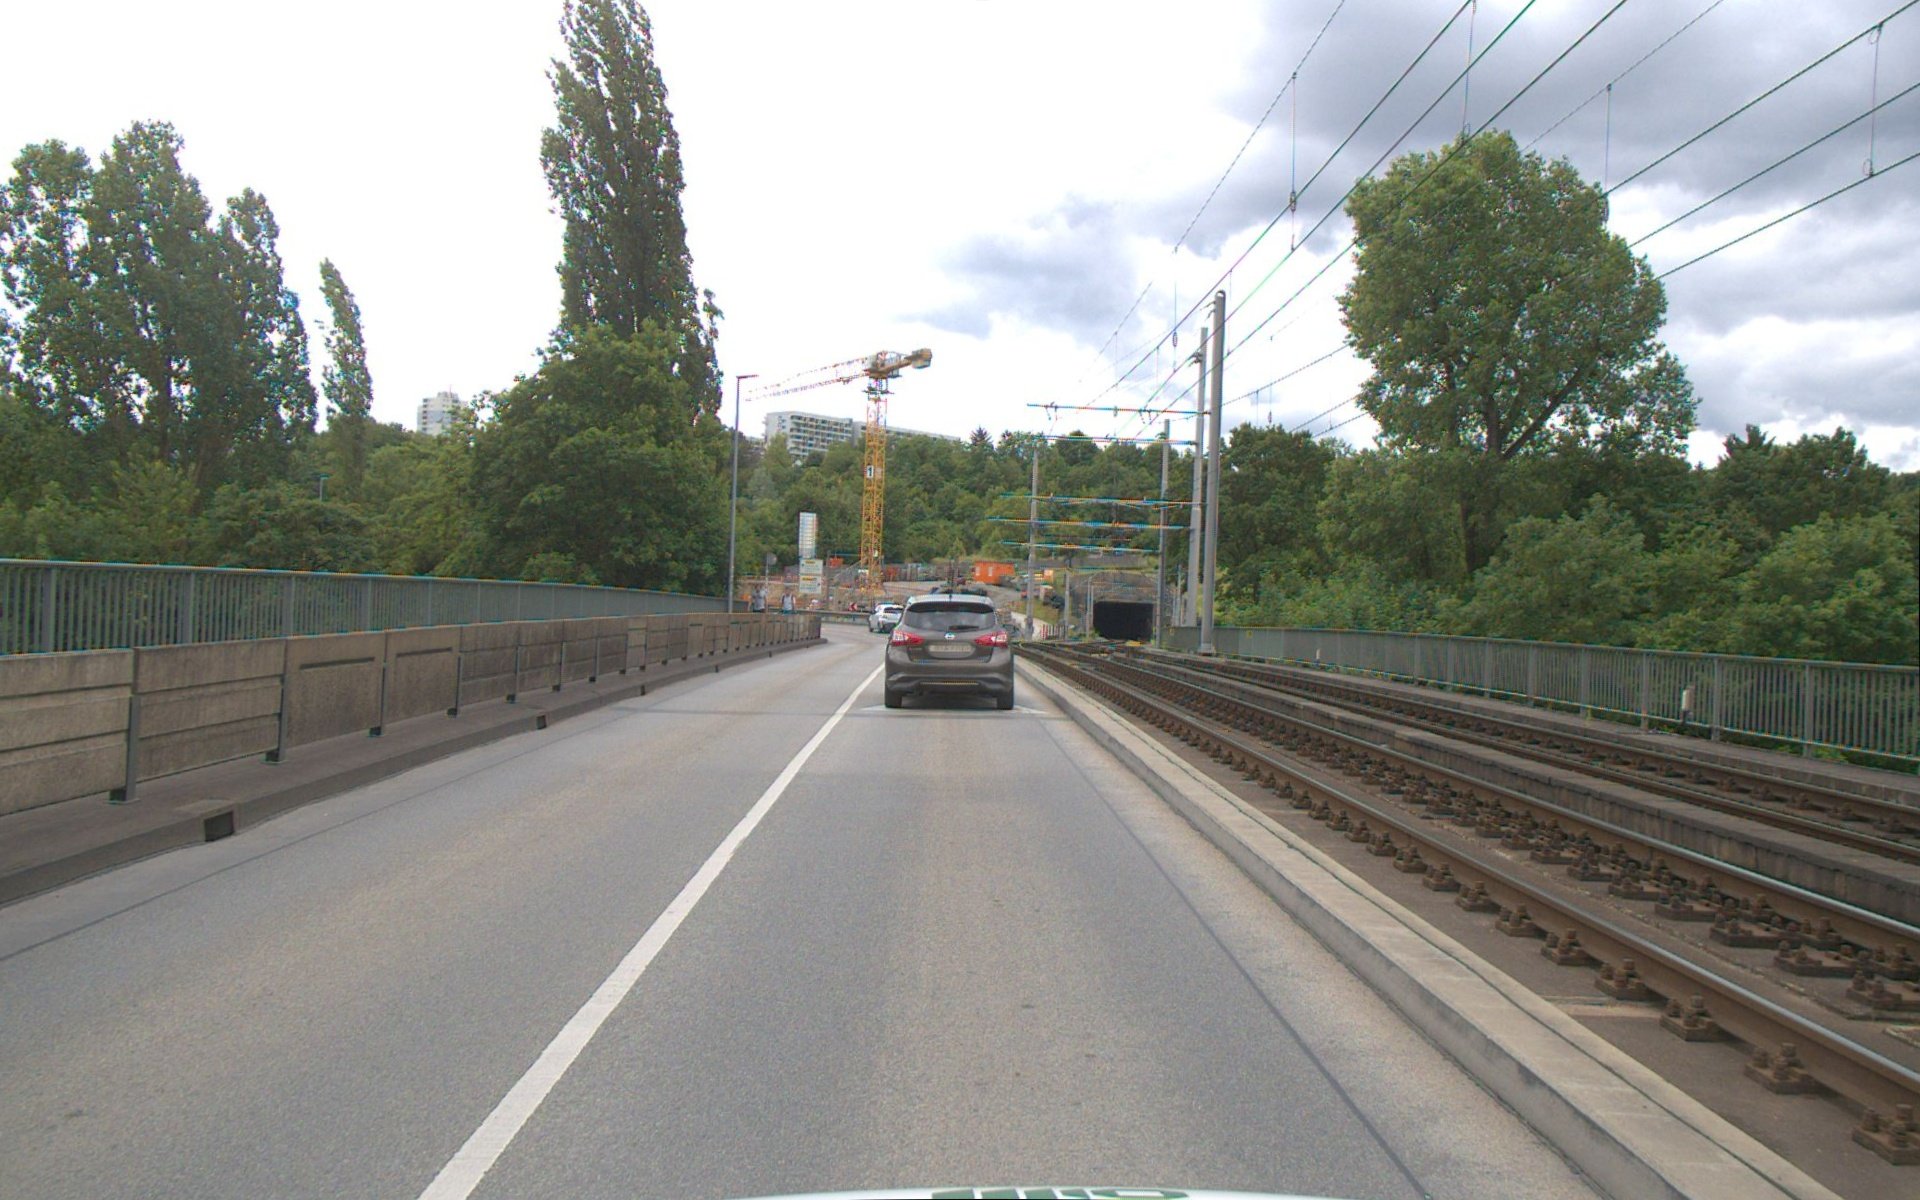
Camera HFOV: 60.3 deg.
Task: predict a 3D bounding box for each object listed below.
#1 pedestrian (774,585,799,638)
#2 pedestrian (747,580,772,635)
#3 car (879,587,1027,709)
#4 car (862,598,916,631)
[{"bbox_3d":[-5.834,0.388,55.716,0.706,1.731,0.723,2,0,-1],"label":"pedestrian"},{"bbox_3d":[-6.880,0.257,56.758,0.706,1.872,0.723,2,0,-1],"label":"pedestrian"},{"bbox_3d":[-0.185,0.625,23.365,1.794,1.536,3.996,2,0,-4],"label":"car"},{"bbox_3d":[-3.864,0.778,89.215,1.655,1.634,4.284,1,0,-20],"label":"car"}]
